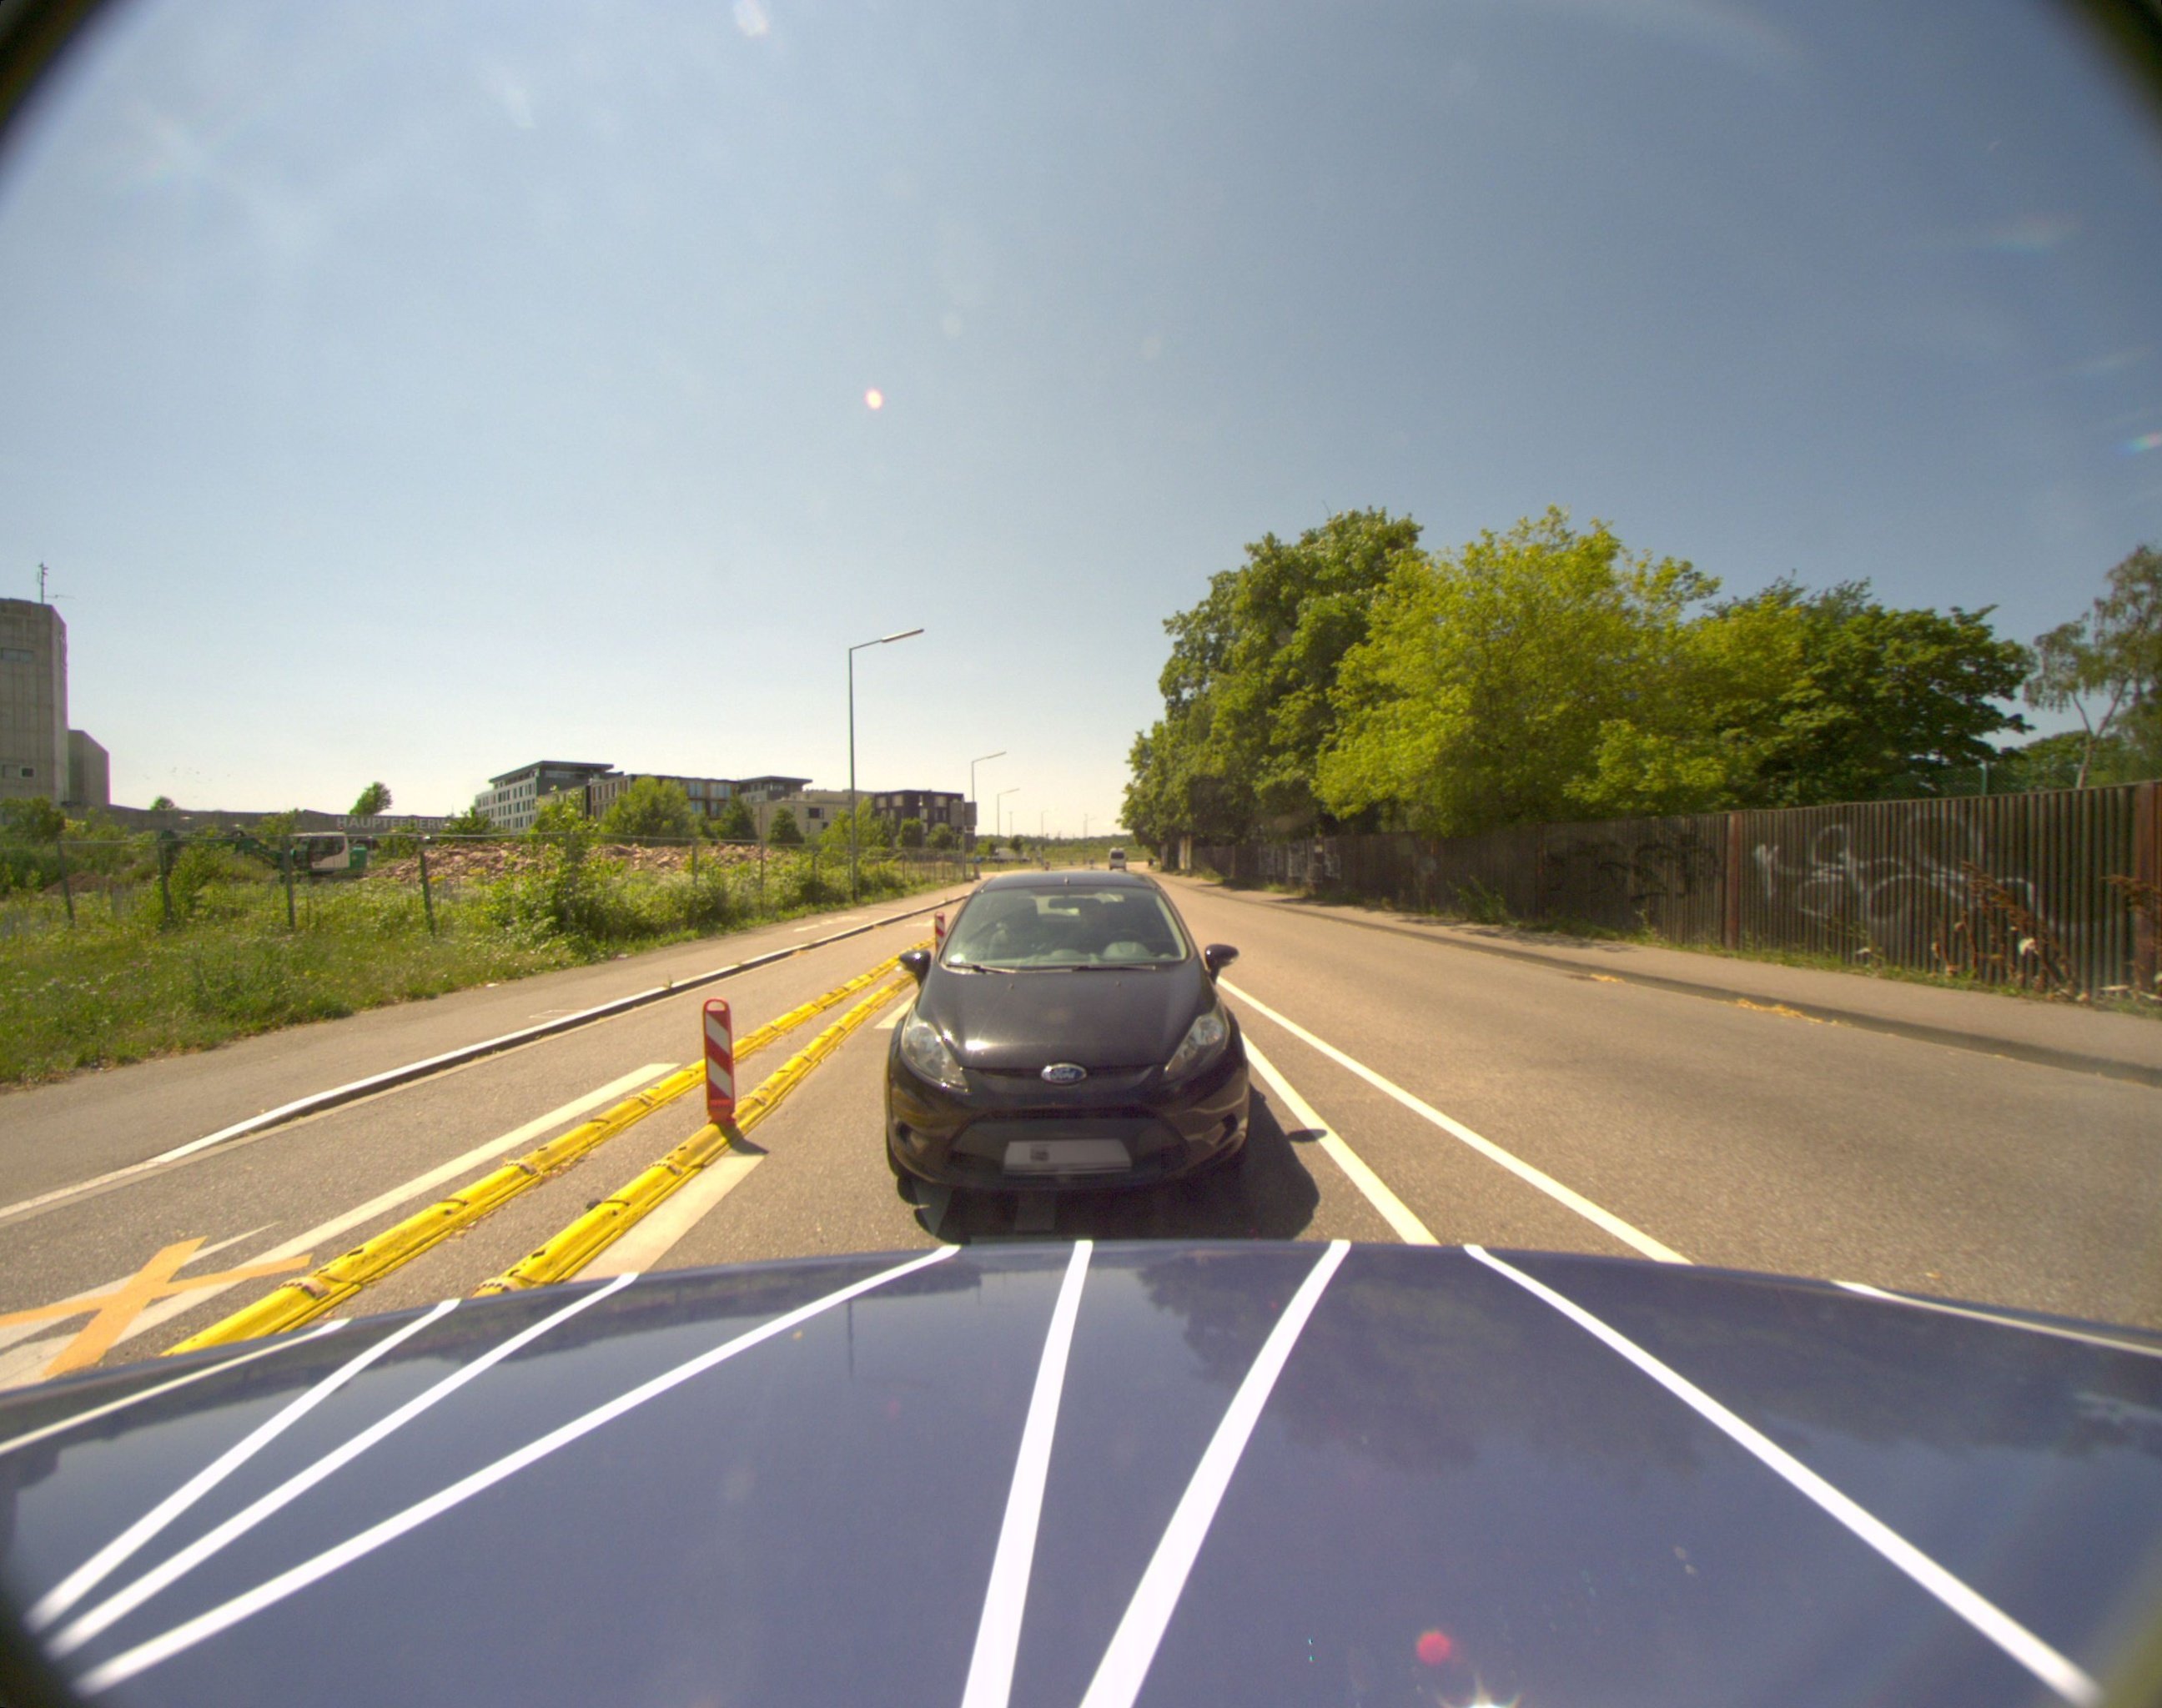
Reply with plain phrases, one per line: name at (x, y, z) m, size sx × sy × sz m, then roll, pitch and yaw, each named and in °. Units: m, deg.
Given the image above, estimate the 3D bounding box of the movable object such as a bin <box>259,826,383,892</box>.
movable object such as a bin at (-37.645, 0.236, 37.757) m, size 2.204 × 3.045 × 3.690 m, roll -2°, pitch 1°, yaw 6°

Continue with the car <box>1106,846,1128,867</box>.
car at (4.324, 0.278, 92.125) m, size 2.025 × 2.524 × 6.825 m, roll 0°, pitch 0°, yaw -2°

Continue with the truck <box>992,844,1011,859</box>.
truck at (-17.916, -0.644, 171.680) m, size 4.008 × 3.316 × 1.994 m, roll -1°, pitch 1°, yaw -45°

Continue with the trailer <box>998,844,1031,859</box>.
trailer at (-15.160, -0.647, 174.421) m, size 8.194 × 3.329 × 1.994 m, roll -1°, pitch 0°, yaw -45°

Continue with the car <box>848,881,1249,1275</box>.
car at (-0.112, 0.993, 5.110) m, size 1.602 × 1.422 × 4.000 m, roll -2°, pitch 0°, yaw 1°
